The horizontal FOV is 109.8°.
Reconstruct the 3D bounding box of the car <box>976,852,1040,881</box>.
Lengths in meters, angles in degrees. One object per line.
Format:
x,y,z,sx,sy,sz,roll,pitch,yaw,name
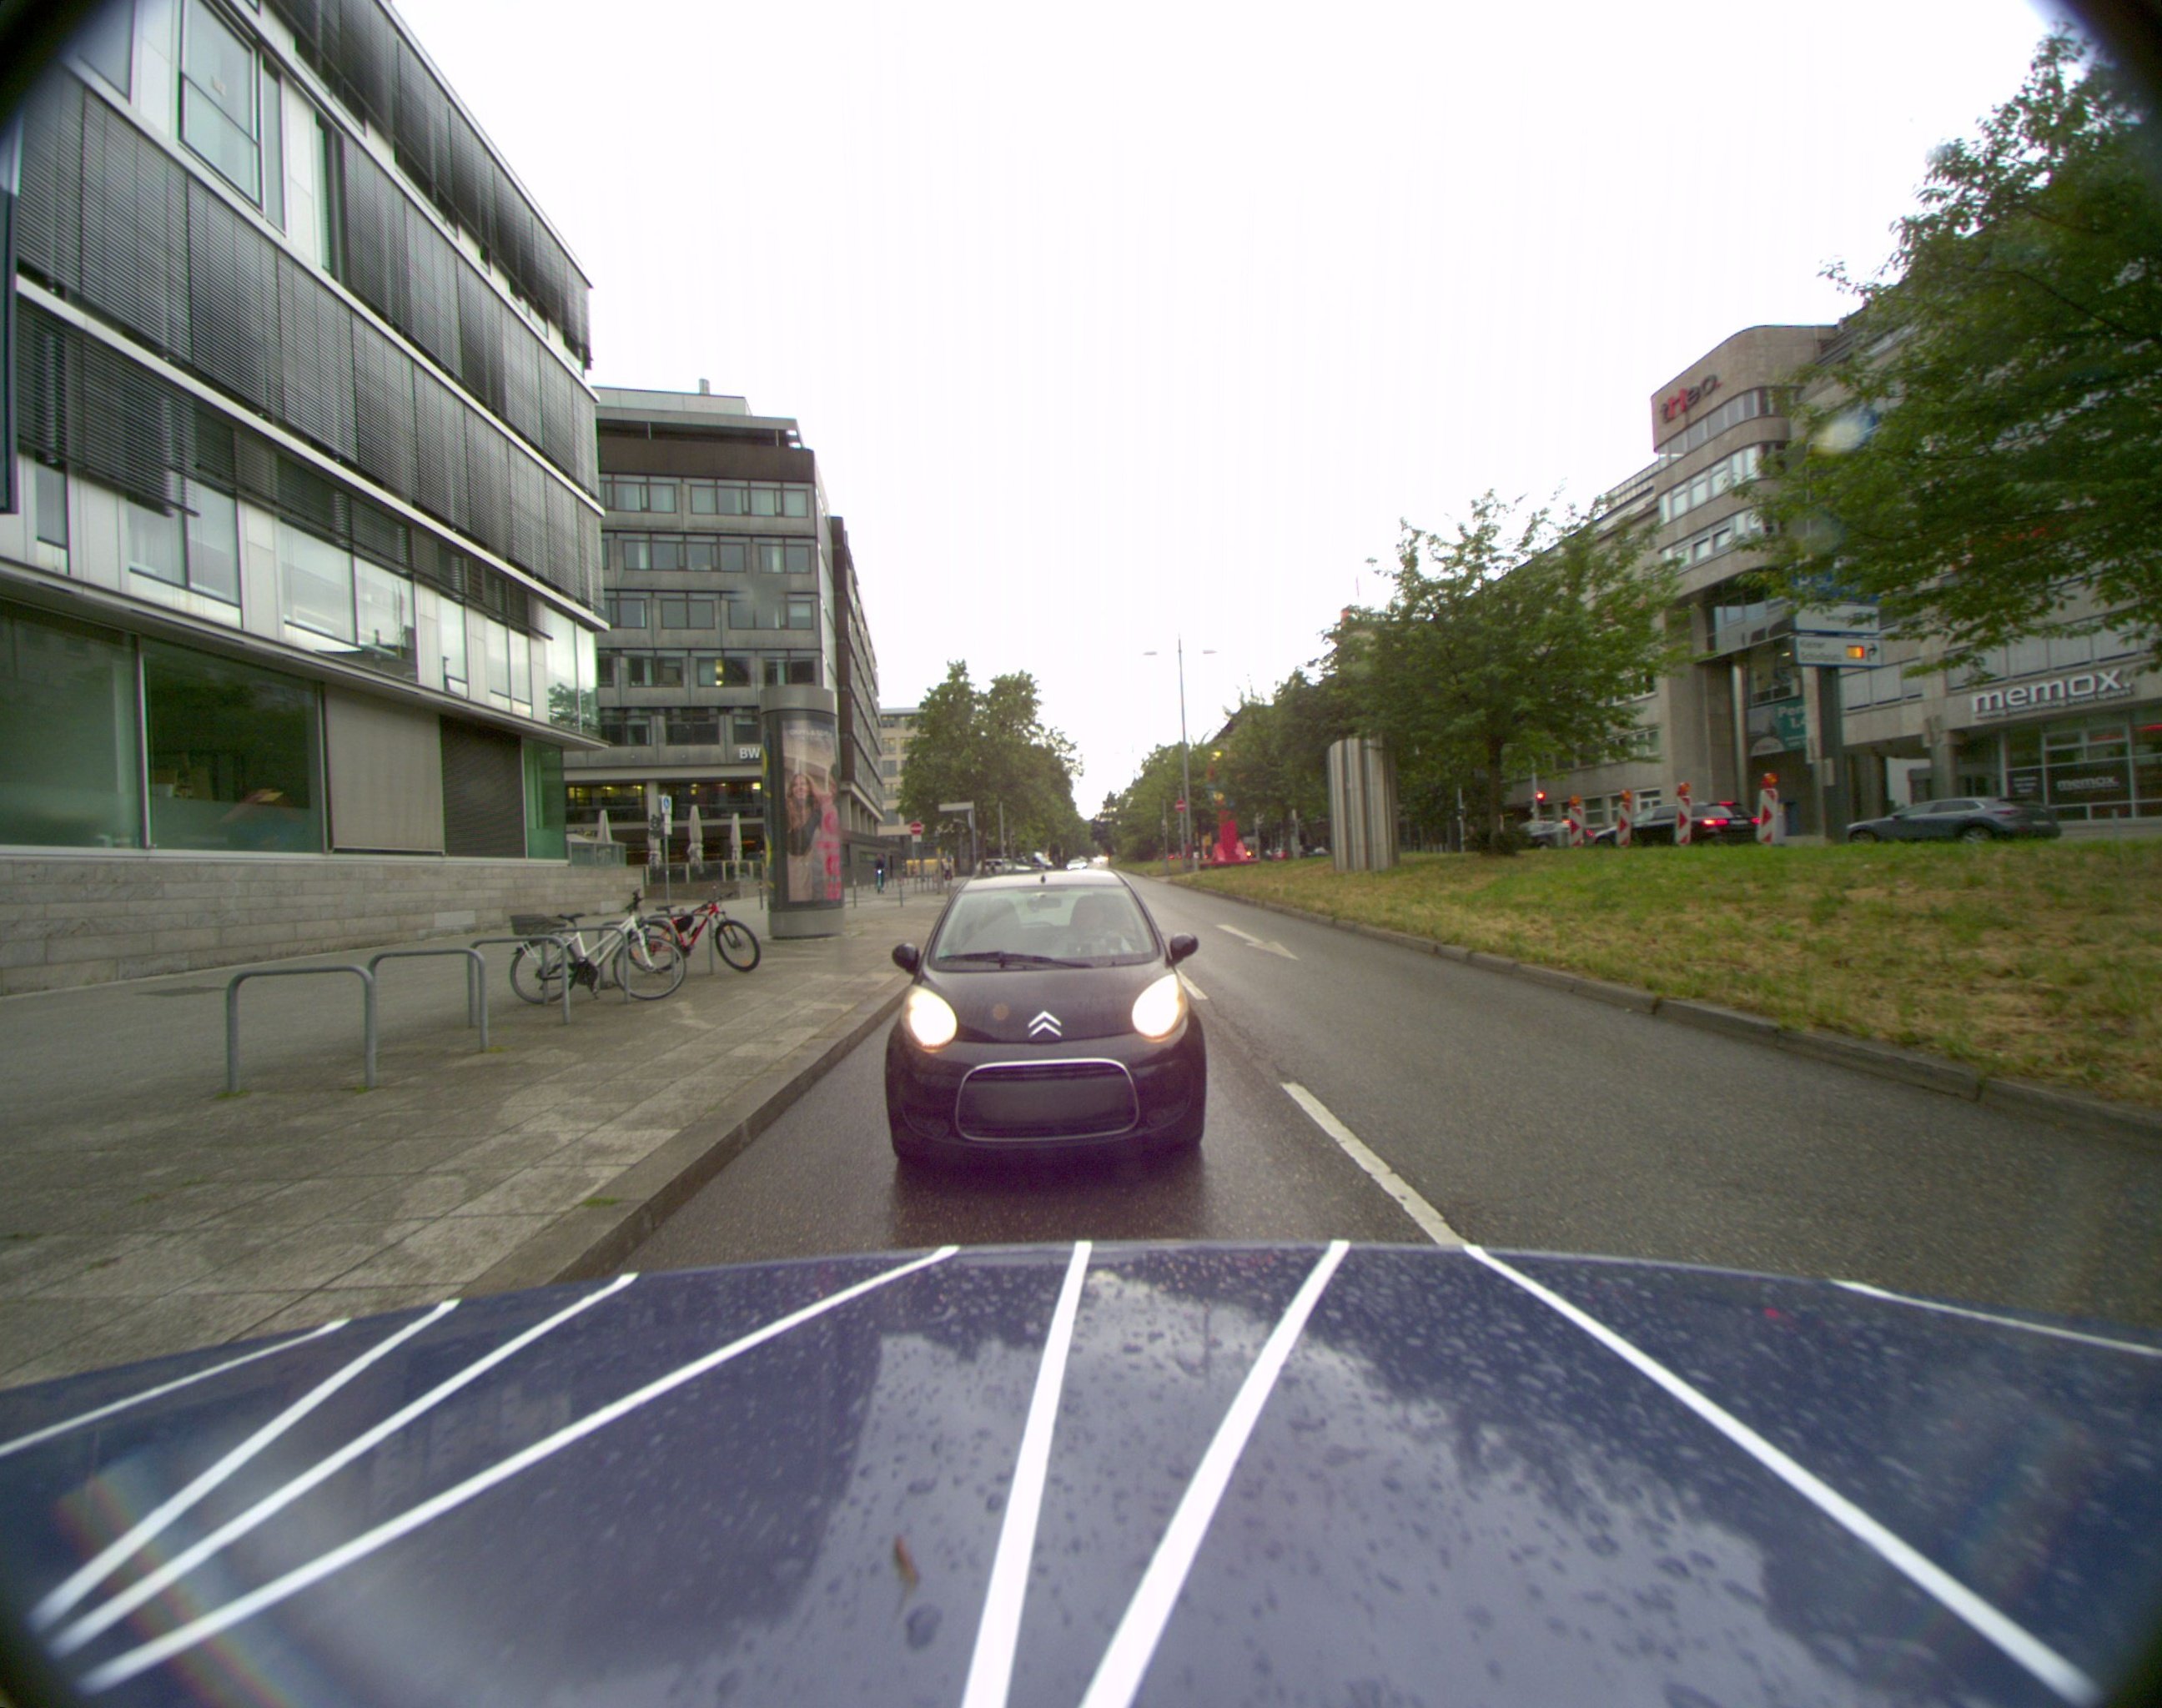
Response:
-5.364,0.902,55.625,4.202,1.802,2.003,-4,1,32,car

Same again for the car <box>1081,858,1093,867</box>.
1.004,1.455,126.277,1.606,1.377,3.018,-5,1,-3,car

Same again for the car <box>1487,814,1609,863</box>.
17.593,-0.565,28.883,1.880,1.571,4.106,-5,1,-3,car

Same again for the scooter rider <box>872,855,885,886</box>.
-13.610,1.119,51.186,0.627,2.013,0.854,-2,1,-5,scooter rider

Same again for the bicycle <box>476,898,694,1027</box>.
-5.222,1.121,8.103,1.797,1.199,0.669,-1,0,-9,bicycle

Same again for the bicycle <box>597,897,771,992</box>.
-5.142,1.160,9.927,1.876,1.103,0.669,-1,0,-2,bicycle

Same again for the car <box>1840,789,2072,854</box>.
24.718,-0.851,21.715,1.575,1.571,4.105,-5,1,-7,car

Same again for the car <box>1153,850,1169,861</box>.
13.669,0.241,130.221,2.073,1.578,4.106,-5,1,-3,car

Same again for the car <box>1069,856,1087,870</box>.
-0.411,1.139,96.391,2.073,1.578,4.106,-5,1,-3,car

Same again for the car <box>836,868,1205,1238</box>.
-0.312,0.936,5.297,1.595,1.501,3.708,-3,0,-2,car

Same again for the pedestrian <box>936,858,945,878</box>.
-11.681,1.160,63.293,0.552,1.692,0.547,-2,1,-2,pedestrian

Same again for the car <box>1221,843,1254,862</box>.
14.835,-0.188,72.290,2.073,1.578,4.106,-5,1,-3,car

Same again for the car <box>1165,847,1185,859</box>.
13.836,-0.096,112.080,2.073,1.578,4.106,-5,1,-3,car

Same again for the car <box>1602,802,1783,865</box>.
17.981,-0.572,22.635,1.880,1.571,4.106,-5,1,-3,car

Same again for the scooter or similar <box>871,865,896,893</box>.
-9.589,1.188,36.925,0.780,1.298,1.335,-2,1,1,scooter or similar

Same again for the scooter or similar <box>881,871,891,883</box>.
-13.168,1.552,51.289,0.408,0.768,1.276,-2,0,-5,scooter or similar

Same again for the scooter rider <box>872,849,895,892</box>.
-9.599,0.792,36.914,0.780,2.009,0.924,-2,1,1,scooter rider

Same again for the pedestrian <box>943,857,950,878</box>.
-11.210,1.141,63.341,0.452,1.692,0.547,-2,1,-2,pedestrian

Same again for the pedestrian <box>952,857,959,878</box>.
-10.471,1.113,63.362,0.452,1.692,0.497,-2,1,-2,pedestrian

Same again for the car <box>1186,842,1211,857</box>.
14.046,-0.500,91.360,2.073,1.578,4.106,-5,1,-3,car

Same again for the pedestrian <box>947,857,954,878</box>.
-10.847,1.128,63.288,0.452,1.692,0.497,-2,1,-2,pedestrian
